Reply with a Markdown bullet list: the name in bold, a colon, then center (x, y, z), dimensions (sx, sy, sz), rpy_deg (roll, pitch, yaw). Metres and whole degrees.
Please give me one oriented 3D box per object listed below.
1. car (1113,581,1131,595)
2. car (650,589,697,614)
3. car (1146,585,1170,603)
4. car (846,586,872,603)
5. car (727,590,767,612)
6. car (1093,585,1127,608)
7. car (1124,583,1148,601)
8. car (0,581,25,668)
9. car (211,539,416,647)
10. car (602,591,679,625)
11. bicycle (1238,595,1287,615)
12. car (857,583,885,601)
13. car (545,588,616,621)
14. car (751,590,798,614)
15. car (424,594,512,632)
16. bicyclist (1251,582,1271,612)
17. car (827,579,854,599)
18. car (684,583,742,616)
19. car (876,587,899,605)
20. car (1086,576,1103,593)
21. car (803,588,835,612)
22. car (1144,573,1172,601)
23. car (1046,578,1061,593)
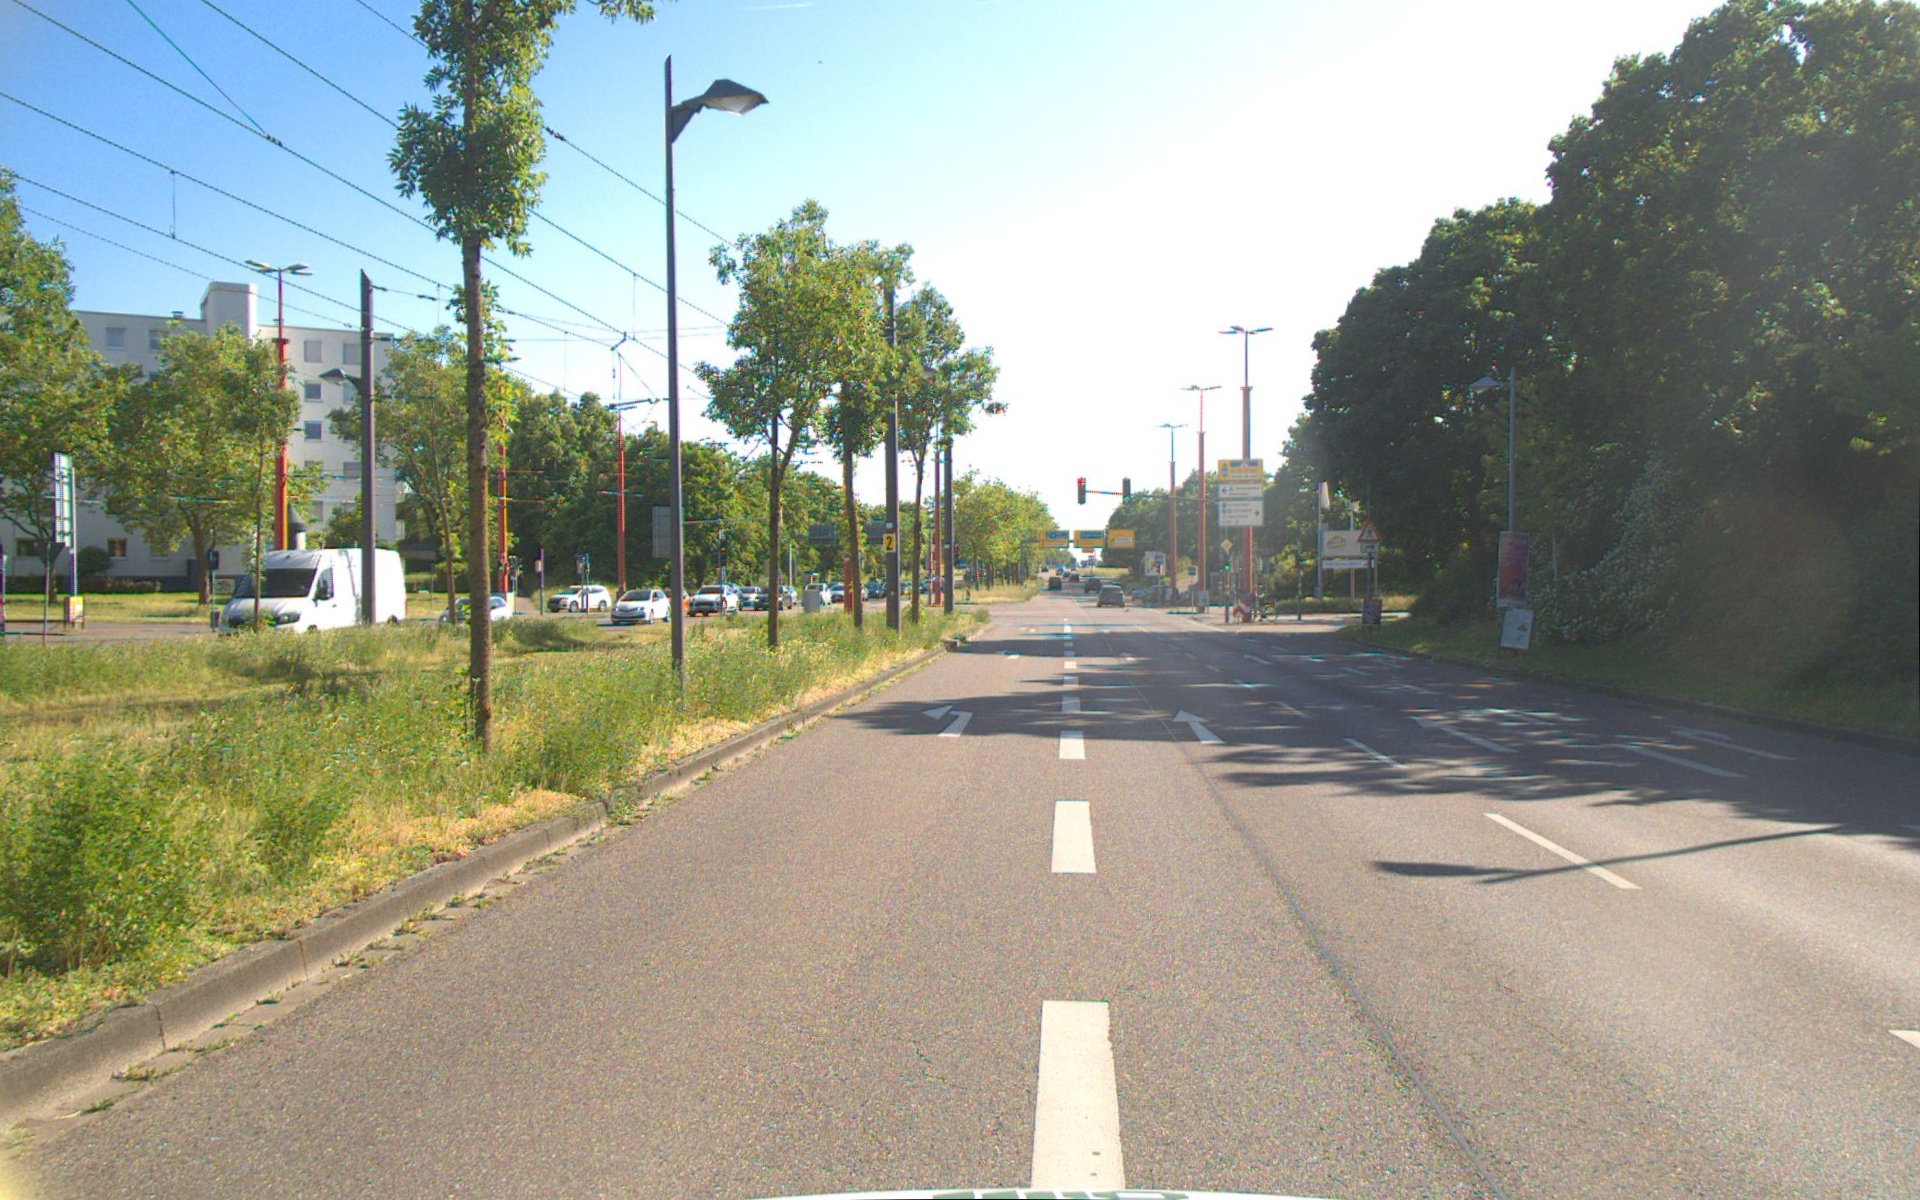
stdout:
- **car**: center (18.763, -1.412, 191.329), dimensions (1.952, 1.567, 4.002), rpy_deg (1, 0, 4)
- **car**: center (-15.600, 0.050, 90.169), dimensions (1.622, 1.320, 4.179), rpy_deg (1, 0, 3)
- **car**: center (15.731, -0.476, 131.681), dimensions (1.701, 1.365, 3.083), rpy_deg (0, 0, 4)
- **car**: center (-8.693, -0.457, 142.212), dimensions (1.668, 1.448, 4.645), rpy_deg (-1, 0, 3)
- **car**: center (-14.596, 0.066, 113.560), dimensions (1.952, 1.457, 4.695), rpy_deg (-1, 0, 3)
- **car**: center (10.191, -0.256, 112.713), dimensions (1.953, 1.523, 4.000), rpy_deg (0, 0, 0)
- **car**: center (15.873, -0.711, 149.468), dimensions (1.952, 1.567, 4.002), rpy_deg (1, 0, 4)
- **car**: center (-18.962, 0.449, 28.929), dimensions (1.952, 1.612, 5.275), rpy_deg (1, 0, 3)
- **car**: center (-15.811, -0.173, 40.990), dimensions (1.997, 2.410, 6.883), rpy_deg (1, 0, 3)
- **car**: center (-14.009, 0.324, 72.788), dimensions (1.859, 1.422, 4.547), rpy_deg (1, 0, 9)
- **bicycle**: center (13.971, 0.219, 76.410), dimensions (2.121, 0.894, 0.559), rpy_deg (1, 0, -8)
- **car**: center (-8.193, -0.738, 152.128), dimensions (1.951, 1.622, 4.467), rpy_deg (-1, 0, 5)
- **car**: center (-24.450, 0.286, 106.597), dimensions (1.958, 2.049, 4.396), rpy_deg (0, 1, 32)
- **car**: center (-11.537, 0.128, 103.330), dimensions (1.951, 1.434, 4.993), rpy_deg (1, 0, 5)
- **car**: center (-17.916, 0.456, 60.384), dimensions (1.760, 1.315, 4.002), rpy_deg (1, 0, 4)
- **bicyclist**: center (13.903, -0.148, 76.419), dimensions (0.725, 1.365, 0.707), rpy_deg (1, 0, -6)
- **car**: center (-9.551, -0.870, 132.341), dimensions (1.555, 1.498, 4.185), rpy_deg (-2, 1, 5)
- **car**: center (-12.844, -0.041, 86.334), dimensions (1.854, 1.650, 4.660), rpy_deg (1, 0, 6)
- **car**: center (-7.239, -0.426, 165.332), dimensions (1.763, 1.737, 4.062), rpy_deg (-1, 0, 4)
- **car**: center (16.913, -1.942, 207.895), dimensions (2.109, 2.049, 4.002), rpy_deg (0, 0, 3)
- **car**: center (-10.153, -0.004, 119.607), dimensions (1.726, 1.636, 3.760), rpy_deg (-1, 0, 4)
- **car**: center (14.018, -0.914, 117.311), dimensions (1.951, 1.920, 4.003), rpy_deg (0, 0, 6)
- **car**: center (12.481, -1.935, 220.982), dimensions (1.952, 2.049, 4.001), rpy_deg (1, 0, 2)
